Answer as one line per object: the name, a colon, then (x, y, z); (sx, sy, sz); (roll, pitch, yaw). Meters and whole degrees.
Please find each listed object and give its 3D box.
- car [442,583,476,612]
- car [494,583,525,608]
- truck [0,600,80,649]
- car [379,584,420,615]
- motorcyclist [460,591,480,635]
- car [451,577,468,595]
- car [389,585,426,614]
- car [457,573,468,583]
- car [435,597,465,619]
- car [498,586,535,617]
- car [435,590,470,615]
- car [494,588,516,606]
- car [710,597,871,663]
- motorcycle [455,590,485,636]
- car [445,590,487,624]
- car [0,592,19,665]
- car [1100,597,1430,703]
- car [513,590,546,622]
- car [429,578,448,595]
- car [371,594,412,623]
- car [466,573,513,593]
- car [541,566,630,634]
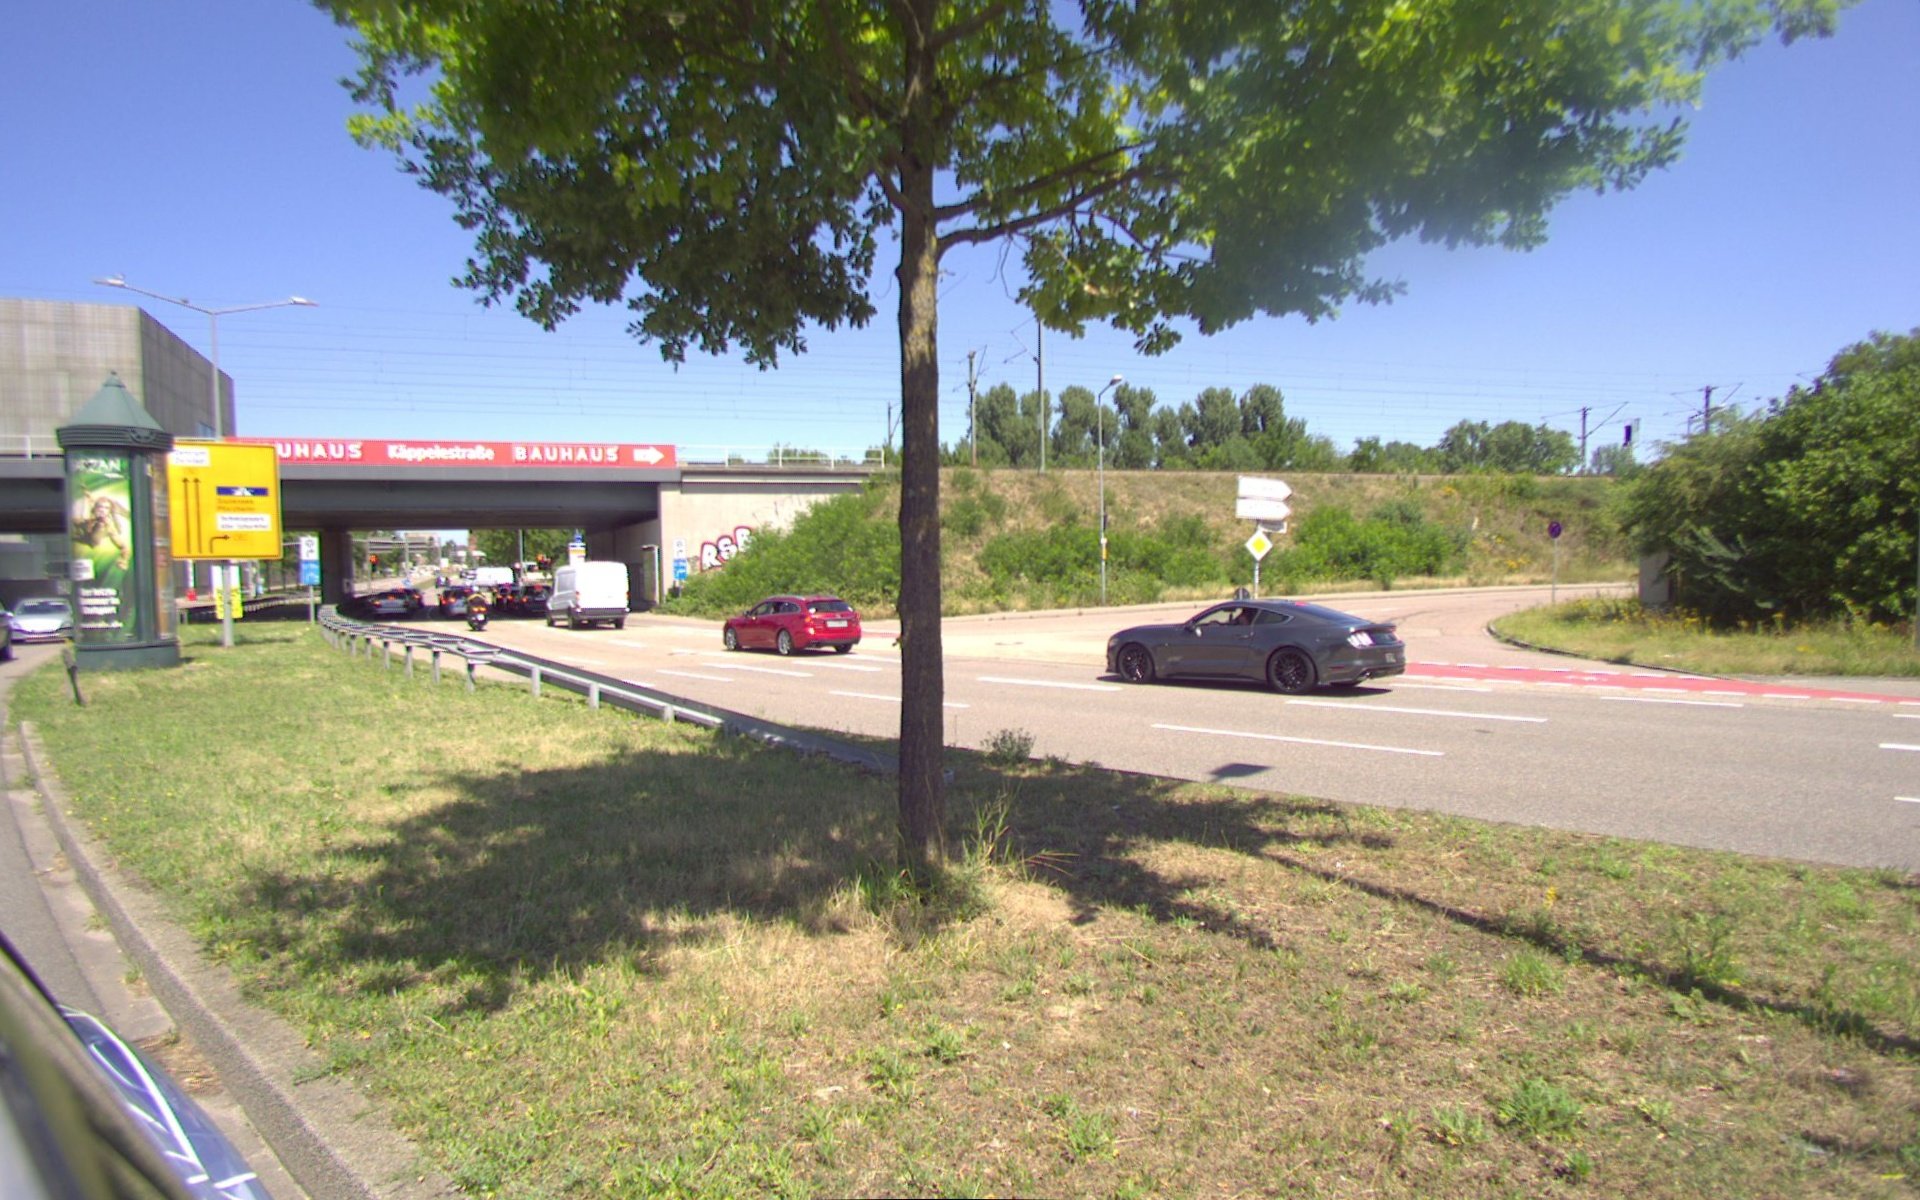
car: (-34.340, -0.206, 69.426); (1.875, 1.873, 4.013); (-1, 1, -24)
car: (-28.616, -0.285, 64.307); (1.548, 1.514, 3.418); (-1, 1, -20)
truck: (-31.549, 0.803, 34.772); (1.704, 1.513, 4.008); (-2, 1, -38)
car: (-35.211, -0.060, 63.650); (1.875, 1.873, 4.013); (-1, 1, -24)
motorcyclist: (-18.320, 0.480, 37.843); (0.579, 1.638, 0.564); (-1, 1, -34)
car: (-59.886, -1.684, 121.157); (1.678, 2.029, 4.013); (-1, 1, -26)
car: (-37.392, -0.086, 68.592); (1.875, 1.873, 4.013); (-1, 1, -24)
car: (-98.310, -4.338, 199.912); (1.809, 2.029, 4.013); (-1, 1, -27)
car: (-29.234, 0.440, 58.071); (1.250, 1.194, 2.787); (-1, 1, -20)
car: (-25.999, 0.086, 59.258); (1.747, 1.680, 4.028); (-2, 1, -26)
car: (-31.767, 0.105, 63.425); (1.593, 1.487, 3.444); (-1, 1, -20)
car: (-31.652, -0.228, 70.463); (1.166, 1.257, 2.701); (-1, 1, -20)
car: (-4.344, 0.680, 25.453); (1.809, 1.448, 4.531); (-2, 1, -42)
motorcycle: (-18.452, 0.460, 38.050); (0.590, 1.691, 2.431); (-1, 1, -35)
car: (-24.250, 0.348, 49.768); (1.611, 1.579, 4.086); (0, 0, -23)
car: (-23.158, 0.688, 23.110); (1.816, 1.708, 3.710); (-1, 1, -33)
car: (4.512, 0.644, 15.512); (1.788, 1.343, 4.573); (-2, 1, -44)
car: (-22.508, 0.293, 52.908); (1.493, 1.553, 3.692); (-1, 1, -23)
car: (-65.579, -1.713, 127.348); (1.965, 2.029, 4.013); (-1, 1, -26)
car: (-28.711, 0.410, 51.203); (1.611, 1.413, 4.235); (0, 0, -27)
car: (-51.438, -1.875, 110.539); (6.374, 2.118, 1.975); (0, 1, 38)
car: (-14.994, 0.062, 40.271); (2.066, 2.519, 5.825); (-1, -1, -33)
